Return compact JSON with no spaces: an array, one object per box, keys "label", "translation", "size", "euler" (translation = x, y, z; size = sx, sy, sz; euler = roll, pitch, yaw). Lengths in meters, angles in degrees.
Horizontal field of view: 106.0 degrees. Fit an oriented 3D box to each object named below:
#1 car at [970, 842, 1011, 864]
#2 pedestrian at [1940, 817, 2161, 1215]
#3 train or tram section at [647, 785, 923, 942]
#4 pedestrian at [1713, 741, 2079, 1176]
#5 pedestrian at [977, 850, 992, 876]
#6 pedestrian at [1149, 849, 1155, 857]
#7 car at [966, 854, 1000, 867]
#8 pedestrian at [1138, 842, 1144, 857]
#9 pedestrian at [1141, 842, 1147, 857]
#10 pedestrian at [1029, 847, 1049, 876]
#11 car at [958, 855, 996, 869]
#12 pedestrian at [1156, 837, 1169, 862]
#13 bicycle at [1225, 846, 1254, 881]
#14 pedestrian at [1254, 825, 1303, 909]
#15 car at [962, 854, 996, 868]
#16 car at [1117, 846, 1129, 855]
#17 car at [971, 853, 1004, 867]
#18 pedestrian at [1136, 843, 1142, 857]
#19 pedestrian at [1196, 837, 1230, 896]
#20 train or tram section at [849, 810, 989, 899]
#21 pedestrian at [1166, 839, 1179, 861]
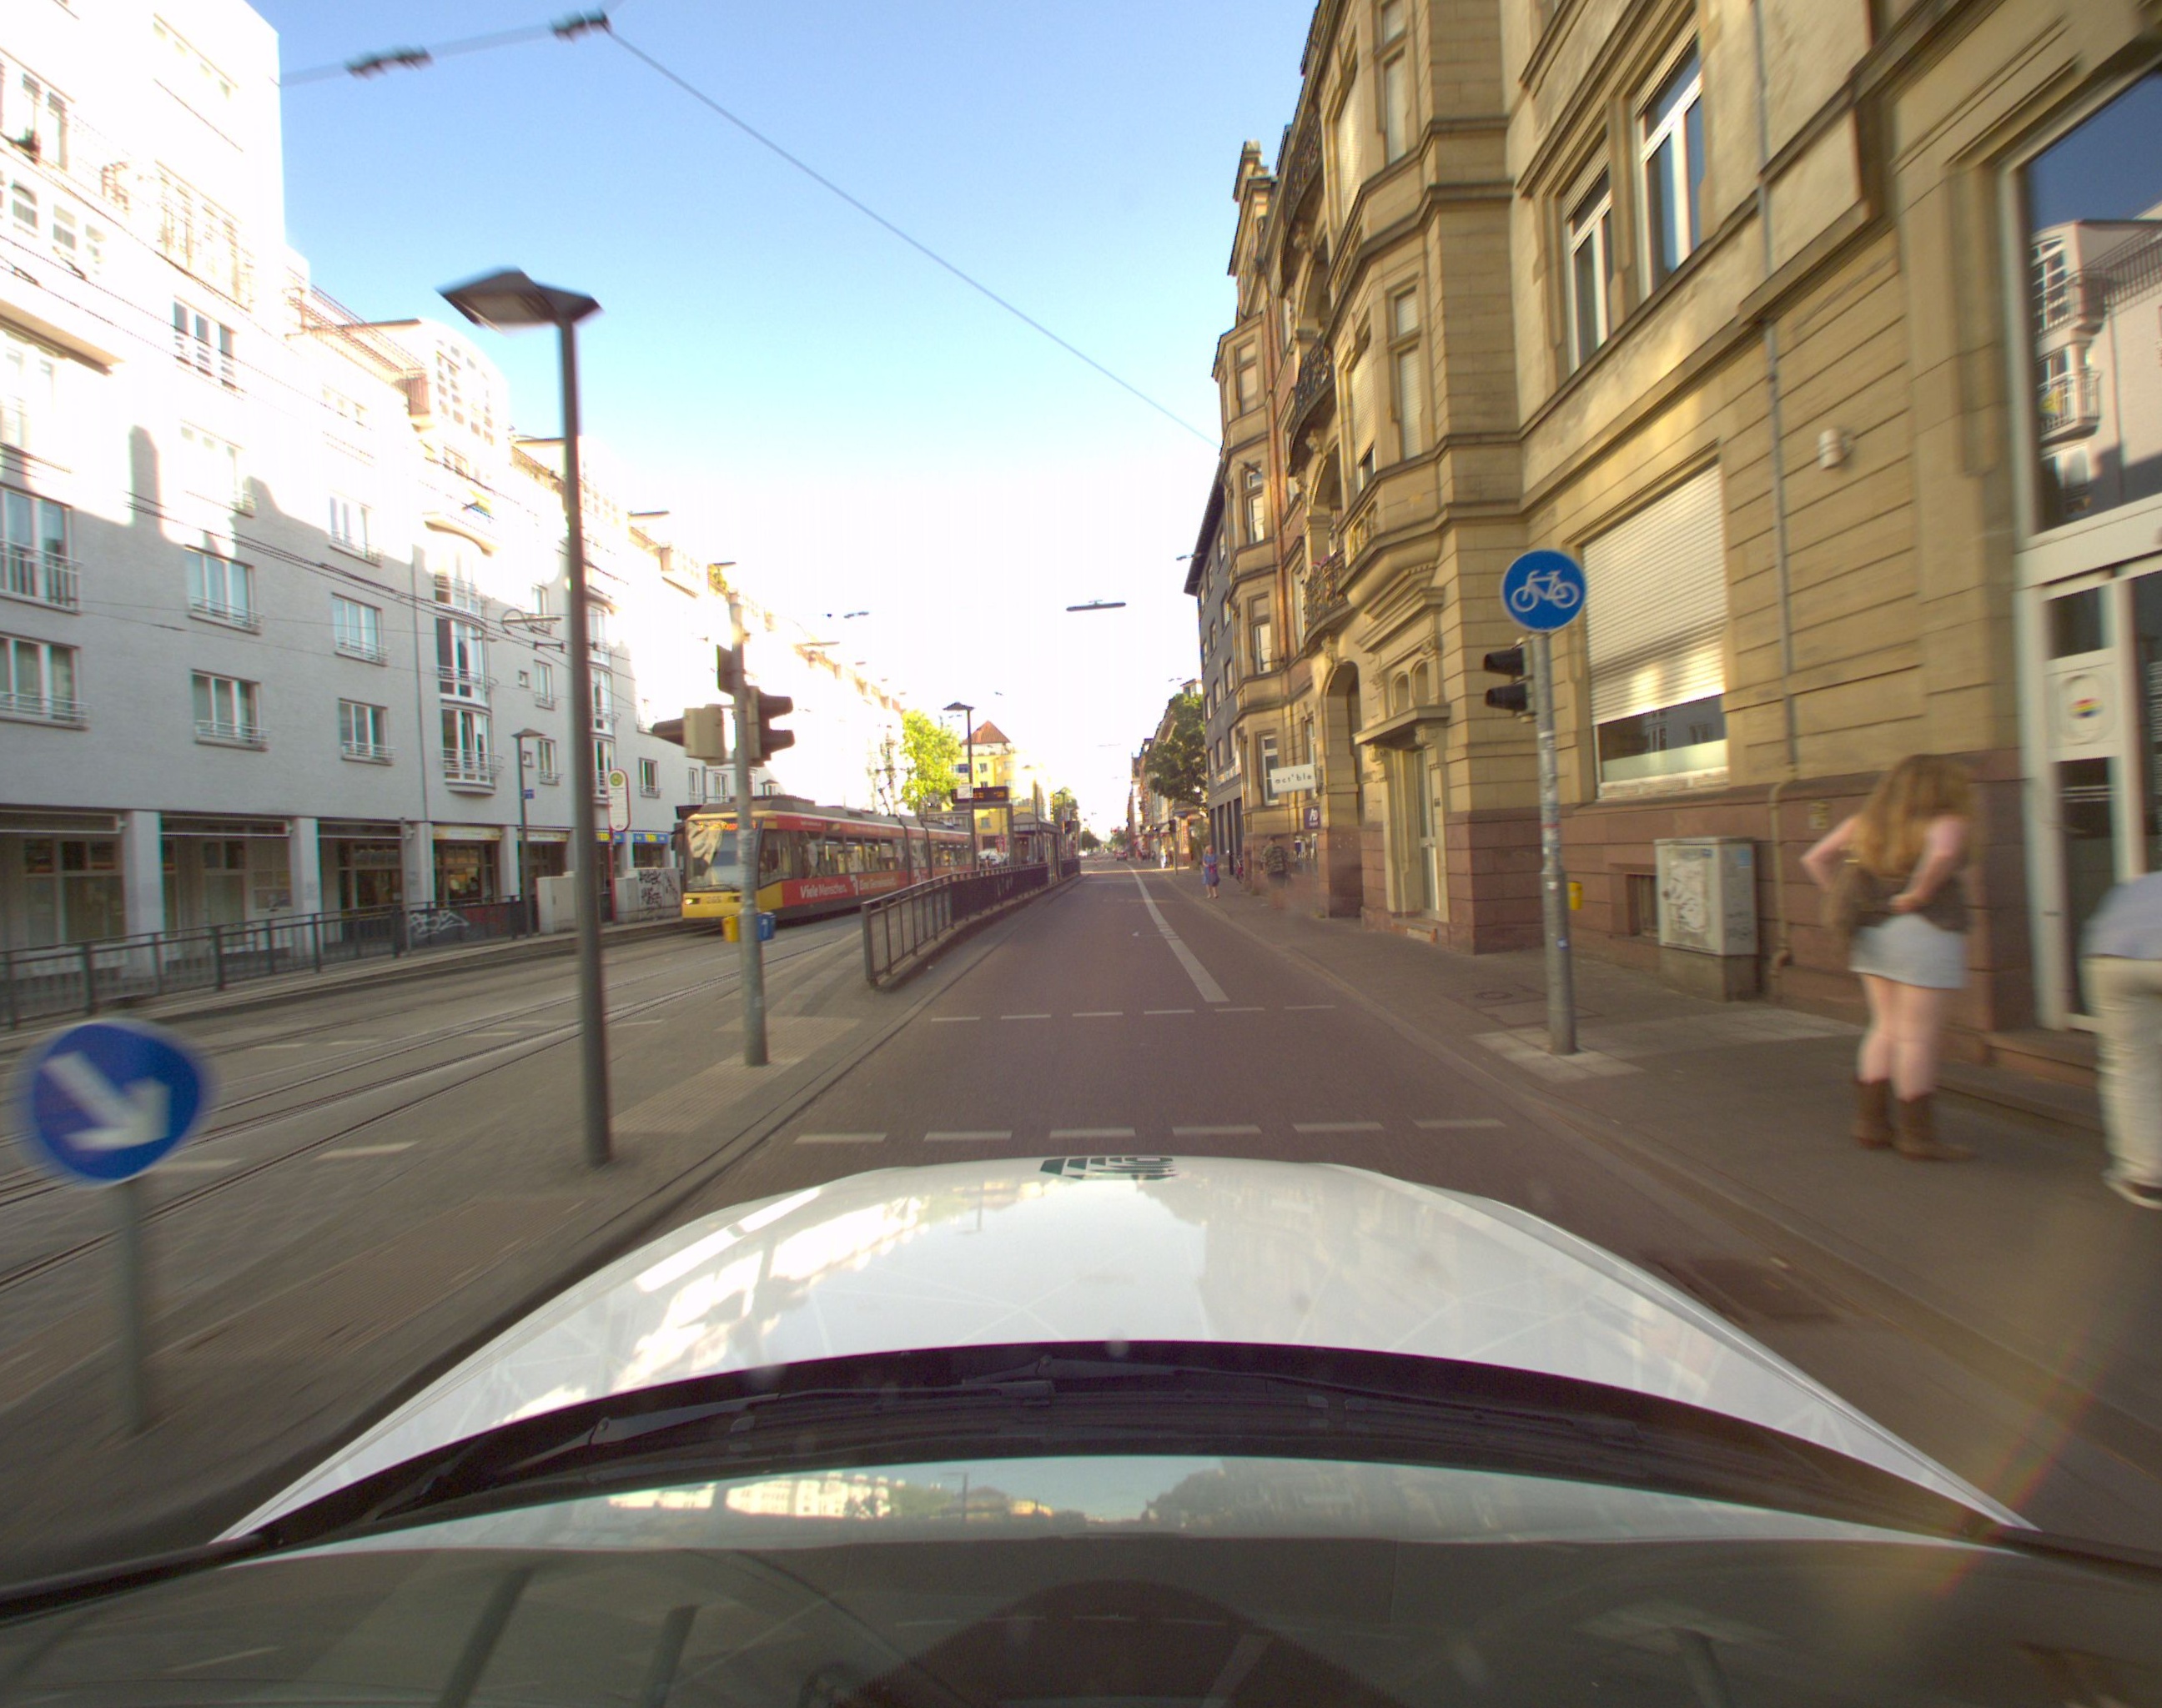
[{"label":"car","translation":[-12.389,-0.137,111.414],"size":[5.084,2.575,2.130],"euler":[-3,1,3]},{"label":"pedestrian","translation":[4.084,0.551,3.080],"size":[0.791,1.331,0.719],"euler":[-6,0,0]},{"label":"train or tram section","translation":[-8.278,0.111,26.060],"size":[2.873,3.490,14.178],"euler":[-3,1,3]},{"label":"pedestrian","translation":[3.634,0.428,3.714],"size":[0.791,1.721,0.719],"euler":[-6,0,0]},{"label":"pedestrian","translation":[-6.588,0.610,55.772],"size":[0.866,1.714,0.787],"euler":[-2,2,0]},{"label":"pedestrian","translation":[9.321,-0.114,106.264],"size":[0.687,1.043,0.682],"euler":[-4,1,6]},{"label":"car","translation":[-12.758,0.853,106.327],"size":[3.970,1.510,1.802],"euler":[-3,1,3]},{"label":"pedestrian","translation":[7.656,-0.591,104.018],"size":[0.556,1.796,0.652],"euler":[-4,1,9]},{"label":"pedestrian","translation":[8.200,-0.600,106.181],"size":[0.645,1.796,0.563],"euler":[-4,1,6]},{"label":"pedestrian","translation":[-1.775,0.304,34.325],"size":[0.682,1.175,0.537],"euler":[-4,1,3]},{"label":"car","translation":[-12.899,0.979,100.951],"size":[4.302,1.510,1.802],"euler":[-3,1,3]},{"label":"pedestrian","translation":[6.032,-0.342,60.298],"size":[0.711,1.774,0.773],"euler":[-7,2,-1]},{"label":"bicycle","translation":[5.945,0.331,30.688],"size":[0.621,1.197,1.908],"euler":[-7,1,1]},{"label":"pedestrian","translation":[4.593,0.284,18.952],"size":[0.798,1.823,0.798],"euler":[-6,2,2]},{"label":"car","translation":[-12.973,0.927,103.751],"size":[3.970,1.510,1.802],"euler":[-3,1,3]},{"label":"car","translation":[7.223,-0.607,141.207],"size":[1.986,1.449,4.003],"euler":[-3,1,2]},{"label":"car","translation":[-12.516,0.766,108.853],"size":[3.970,1.510,1.802],"euler":[-3,1,3]},{"label":"pedestrian","translation":[8.781,-0.614,123.079],"size":[0.840,1.917,0.662],"euler":[-4,1,0]},{"label":"pedestrian","translation":[3.968,0.364,24.543],"size":[0.760,1.645,0.833],"euler":[-6,2,2]},{"label":"train or tram section","translation":[-7.455,-0.106,40.618],"size":[2.873,3.490,14.966],"euler":[-3,1,4]},{"label":"pedestrian","translation":[6.777,-0.305,60.453],"size":[0.711,1.602,0.773],"euler":[-7,2,-1]}]
